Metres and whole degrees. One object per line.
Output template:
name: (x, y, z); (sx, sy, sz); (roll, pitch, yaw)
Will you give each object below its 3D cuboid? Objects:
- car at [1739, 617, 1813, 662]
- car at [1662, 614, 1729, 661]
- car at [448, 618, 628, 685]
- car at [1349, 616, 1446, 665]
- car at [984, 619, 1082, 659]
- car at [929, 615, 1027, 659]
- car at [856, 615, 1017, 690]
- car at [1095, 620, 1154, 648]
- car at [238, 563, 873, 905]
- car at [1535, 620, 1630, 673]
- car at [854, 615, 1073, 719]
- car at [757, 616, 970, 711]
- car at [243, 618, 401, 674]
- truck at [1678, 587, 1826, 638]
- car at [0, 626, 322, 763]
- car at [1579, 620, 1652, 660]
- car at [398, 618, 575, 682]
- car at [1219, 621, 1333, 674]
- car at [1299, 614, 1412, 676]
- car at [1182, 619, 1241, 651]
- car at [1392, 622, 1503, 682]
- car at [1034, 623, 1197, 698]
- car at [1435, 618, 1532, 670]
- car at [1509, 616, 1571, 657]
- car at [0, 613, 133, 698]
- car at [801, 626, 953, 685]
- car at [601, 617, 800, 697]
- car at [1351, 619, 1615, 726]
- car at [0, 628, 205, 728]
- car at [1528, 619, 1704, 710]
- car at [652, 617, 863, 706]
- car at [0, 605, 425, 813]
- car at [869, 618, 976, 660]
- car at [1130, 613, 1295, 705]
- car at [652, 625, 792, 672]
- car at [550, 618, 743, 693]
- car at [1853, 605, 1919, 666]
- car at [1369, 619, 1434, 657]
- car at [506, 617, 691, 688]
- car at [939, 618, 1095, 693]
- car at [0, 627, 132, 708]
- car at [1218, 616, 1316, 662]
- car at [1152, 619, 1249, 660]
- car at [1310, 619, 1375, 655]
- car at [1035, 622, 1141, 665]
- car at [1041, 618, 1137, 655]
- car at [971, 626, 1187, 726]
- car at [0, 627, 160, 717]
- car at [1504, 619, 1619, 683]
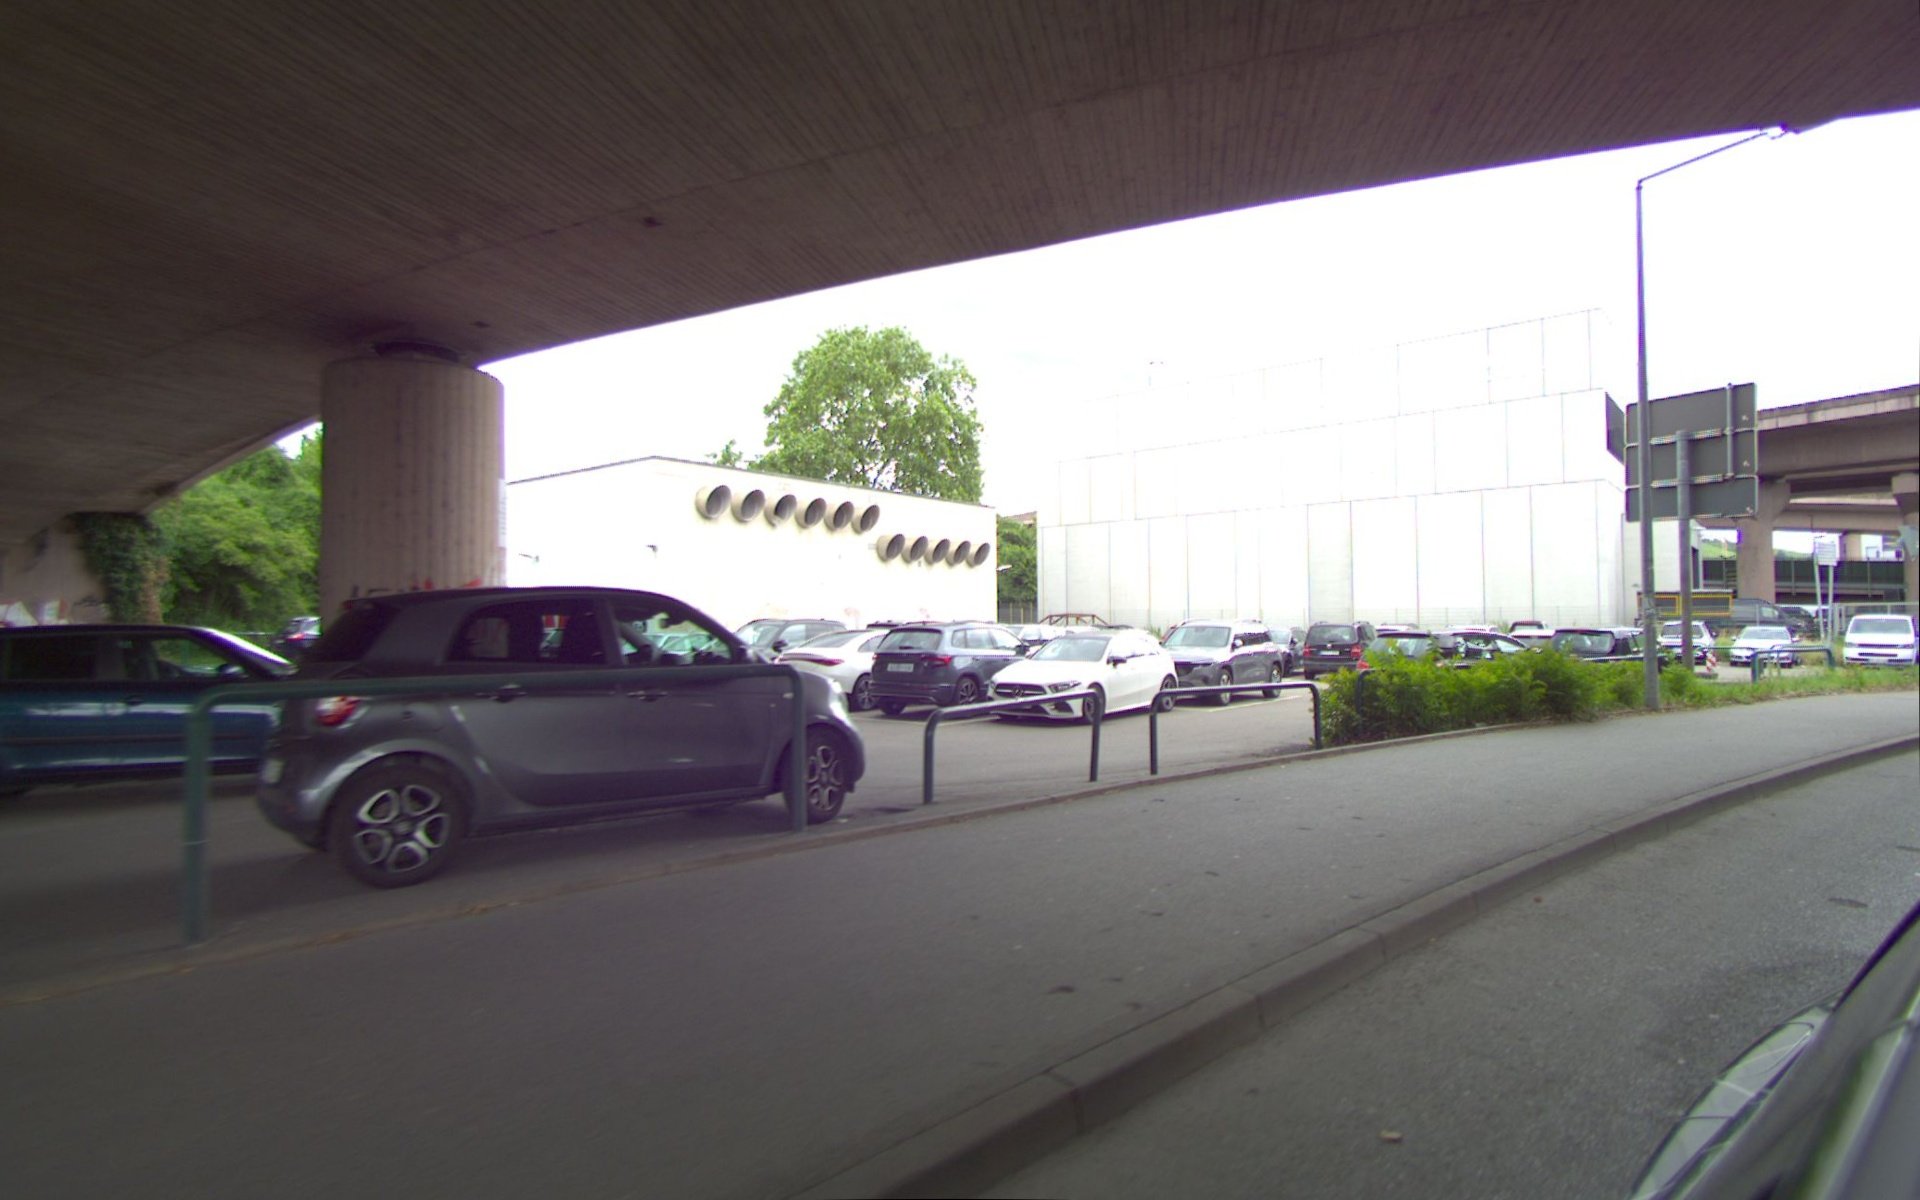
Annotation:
car: (29.377, 1.373, 36.373); (1.769, 1.475, 4.484); (-1, -1, 43)
car: (27.538, 1.342, 37.839); (1.767, 1.608, 4.299); (-1, -1, 39)
car: (-11.202, 1.304, 27.113); (1.828, 1.613, 4.135); (-1, -1, 37)
car: (14.797, 1.314, 34.114); (1.830, 1.533, 4.435); (-1, -1, 40)
car: (2.760, 1.404, 37.461); (1.759, 1.410, 3.921); (-1, -1, 38)
car: (0.731, 1.366, 38.285); (1.759, 1.553, 3.921); (-1, -1, 38)
car: (-0.491, 1.237, 25.564); (1.746, 1.713, 4.372); (-1, -1, 37)
car: (8.636, 1.758, 52.930); (1.487, 1.355, 3.996); (-1, -1, 35)
car: (-2.372, 0.652, 6.349); (3.352, 1.553, 1.607); (1, -3, -42)
car: (18.972, 1.355, 30.750); (1.830, 1.444, 4.377); (-1, -1, 40)
car: (0.180, 1.091, 18.155); (1.828, 1.613, 4.135); (-1, -1, 37)
car: (-1.755, 1.136, 19.606); (1.828, 1.613, 4.135); (-1, -1, 37)
car: (-21.331, 1.484, 33.969); (1.828, 1.710, 4.135); (-1, -1, 37)
truck: (48.545, 0.804, 62.153); (6.906, 2.970, 3.002); (-1, -2, 44)
car: (-11.277, 1.167, 13.665); (1.828, 1.570, 4.135); (-1, -1, 37)
car: (24.993, 1.480, 38.531); (1.768, 1.401, 4.296); (-1, -1, 41)
car: (-13.187, 1.338, 28.381); (1.828, 1.613, 4.135); (-1, -1, 37)
car: (9.711, 1.393, 30.886); (1.848, 1.462, 4.557); (-1, -1, 38)
car: (11.586, 1.238, 29.485); (1.848, 1.649, 4.557); (-1, -1, 38)
car: (12.299, 1.669, 49.446); (1.487, 1.478, 4.014); (-1, -1, 35)
car: (13.599, 1.361, 28.067); (1.848, 1.494, 4.622); (-1, -1, 38)
car: (3.579, 1.265, 22.715); (1.746, 1.467, 4.398); (-1, -1, 37)
car: (16.648, 1.332, 32.084); (1.830, 1.533, 4.435); (-1, -1, 40)
car: (23.396, 1.422, 40.781); (1.616, 1.564, 3.052); (-1, -1, 41)
car: (-20.456, 1.138, 20.786); (2.079, 1.699, 5.037); (-1, -1, 37)
car: (-2.130, 1.423, 27.088); (1.622, 1.381, 4.346); (-1, -1, 37)
car: (-5.749, 1.203, 22.803); (1.828, 1.613, 4.135); (-1, -1, 37)
car: (8.444, 1.067, 16.286); (4.164, 1.498, 1.737); (0, -1, -29)
car: (-14.949, 1.219, 16.313); (1.828, 1.484, 4.135); (-1, -1, 37)
car: (11.789, 1.096, 18.188); (2.705, 1.498, 1.546); (0, -1, -29)
car: (-4.077, 1.178, 20.925); (1.828, 1.613, 4.135); (-1, -1, 37)
car: (-6.985, 0.888, 9.100); (3.782, 1.526, 1.792); (-1, -2, -30)
car: (-1.408, 1.472, 39.634); (1.759, 1.553, 4.427); (-1, -1, 38)
car: (5.315, 1.117, 20.916); (1.735, 1.697, 4.409); (-1, -1, 37)
car: (-7.387, 1.479, 31.771); (1.699, 1.322, 4.203); (-1, -1, 37)
car: (-7.384, 1.239, 24.146); (1.828, 1.613, 4.135); (-1, -1, 37)
car: (32.720, 1.183, 35.338); (4.602, 1.982, 1.889); (0, -1, -44)
car: (18.901, 1.595, 43.256); (1.764, 1.475, 4.306); (-1, -1, 35)
car: (-9.125, 1.267, 25.820); (1.828, 1.613, 4.135); (-1, -1, 37)
car: (1.433, 1.238, 24.009); (1.746, 1.577, 4.032); (-1, -1, 37)
car: (-18.749, 1.287, 19.429); (1.828, 1.484, 4.135); (-1, -1, 37)
car: (11.197, 1.372, 36.775); (1.830, 1.533, 4.435); (-1, -1, 40)
car: (9.172, 1.452, 38.325); (1.830, 1.444, 4.377); (-1, -1, 40)
car: (17.145, 1.599, 45.230); (1.764, 1.475, 4.306); (-1, -1, 35)
car: (4.584, 1.484, 35.735); (1.775, 1.410, 4.375); (-1, -1, 38)
car: (5.312, 1.457, 41.392); (1.830, 1.444, 4.377); (-1, -1, 40)
car: (2.138, 1.182, 17.241); (1.828, 1.439, 4.135); (-1, -1, 37)
car: (-16.936, 1.253, 17.837); (1.828, 1.484, 4.135); (-1, -1, 37)
car: (15.771, 1.253, 26.420); (1.849, 1.494, 4.618); (-1, -1, 40)
